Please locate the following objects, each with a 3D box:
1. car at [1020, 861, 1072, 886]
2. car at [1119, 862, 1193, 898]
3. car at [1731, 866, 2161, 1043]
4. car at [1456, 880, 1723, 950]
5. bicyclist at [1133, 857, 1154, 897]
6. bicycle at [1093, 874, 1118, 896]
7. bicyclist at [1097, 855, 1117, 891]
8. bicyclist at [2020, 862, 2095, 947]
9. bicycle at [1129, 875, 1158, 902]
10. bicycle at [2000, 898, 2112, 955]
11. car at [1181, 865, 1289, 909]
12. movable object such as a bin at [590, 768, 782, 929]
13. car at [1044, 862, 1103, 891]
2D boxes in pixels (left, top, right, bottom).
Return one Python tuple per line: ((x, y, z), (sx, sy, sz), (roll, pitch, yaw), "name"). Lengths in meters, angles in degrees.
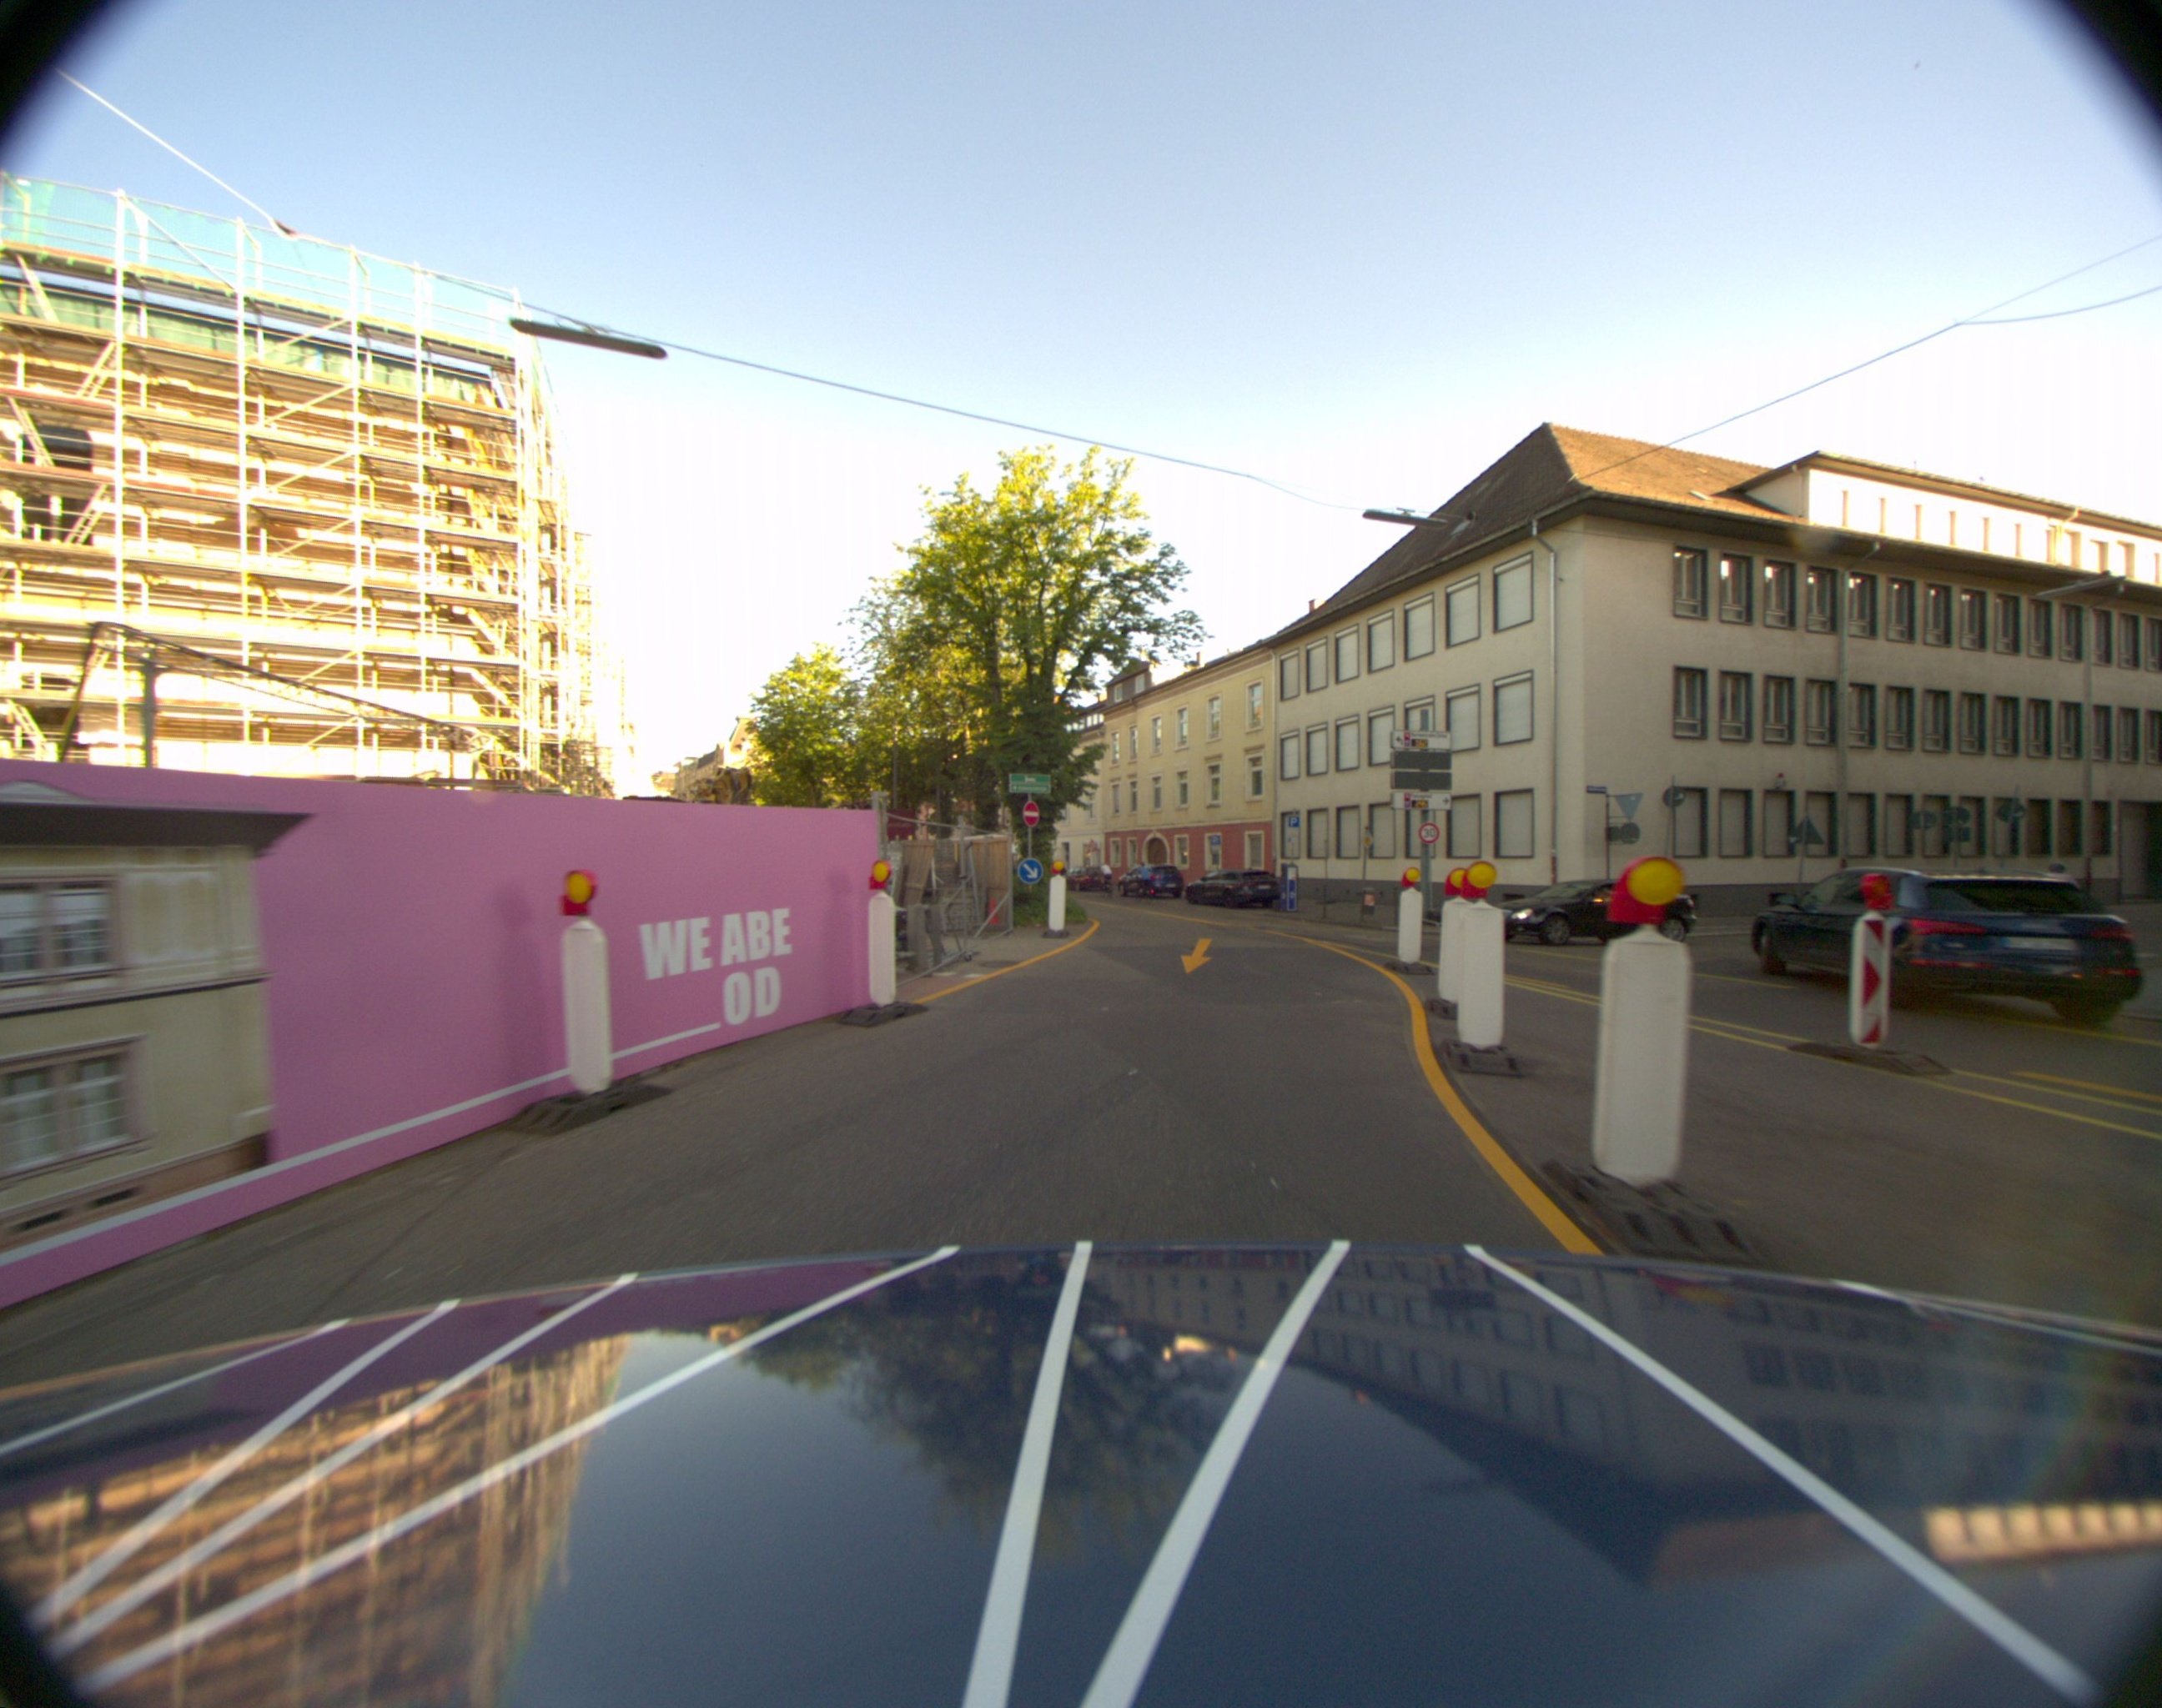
((-2.346, 1.220, 49.473), (1.822, 1.562, 4.380), (0, 0, -26), "car")
((3.512, 1.200, 36.482), (1.809, 1.562, 4.147), (0, 0, -23), "car")
((10.509, 1.001, 9.697), (1.878, 1.661, 4.663), (1, 0, 21), "car")
((10.689, 1.230, 16.100), (4.776, 1.315, 1.765), (0, 0, -9), "car")
((2.679, 0.961, 32.525), (0.583, 1.665, 0.835), (3, 0, -14), "bicyclist")
((1.188, 1.504, 37.032), (0.589, 0.982, 2.027), (2, 0, -17), "bicycle")
((1.254, 0.914, 36.840), (0.576, 1.649, 1.009), (3, 0, -17), "bicyclist")
((18.634, 0.938, 14.510), (0.764, 1.568, 0.643), (1, 0, -18), "bicyclist")
((2.652, 1.456, 32.485), (0.612, 1.064, 1.895), (2, 0, -15), "bicycle")
((18.643, 1.363, 14.529), (2.127, 0.985, 0.638), (1, 0, -19), "bicycle")
((5.947, 1.225, 30.004), (1.883, 1.499, 4.779), (-1, 0, -21), "car")
((-9.044, -0.080, 18.015), (3.174, 3.281, 4.380), (1, 0, -15), "movable object such as a bin")
((-0.506, 1.260, 43.794), (1.774, 1.479, 4.185), (-1, 0, -26), "car")
